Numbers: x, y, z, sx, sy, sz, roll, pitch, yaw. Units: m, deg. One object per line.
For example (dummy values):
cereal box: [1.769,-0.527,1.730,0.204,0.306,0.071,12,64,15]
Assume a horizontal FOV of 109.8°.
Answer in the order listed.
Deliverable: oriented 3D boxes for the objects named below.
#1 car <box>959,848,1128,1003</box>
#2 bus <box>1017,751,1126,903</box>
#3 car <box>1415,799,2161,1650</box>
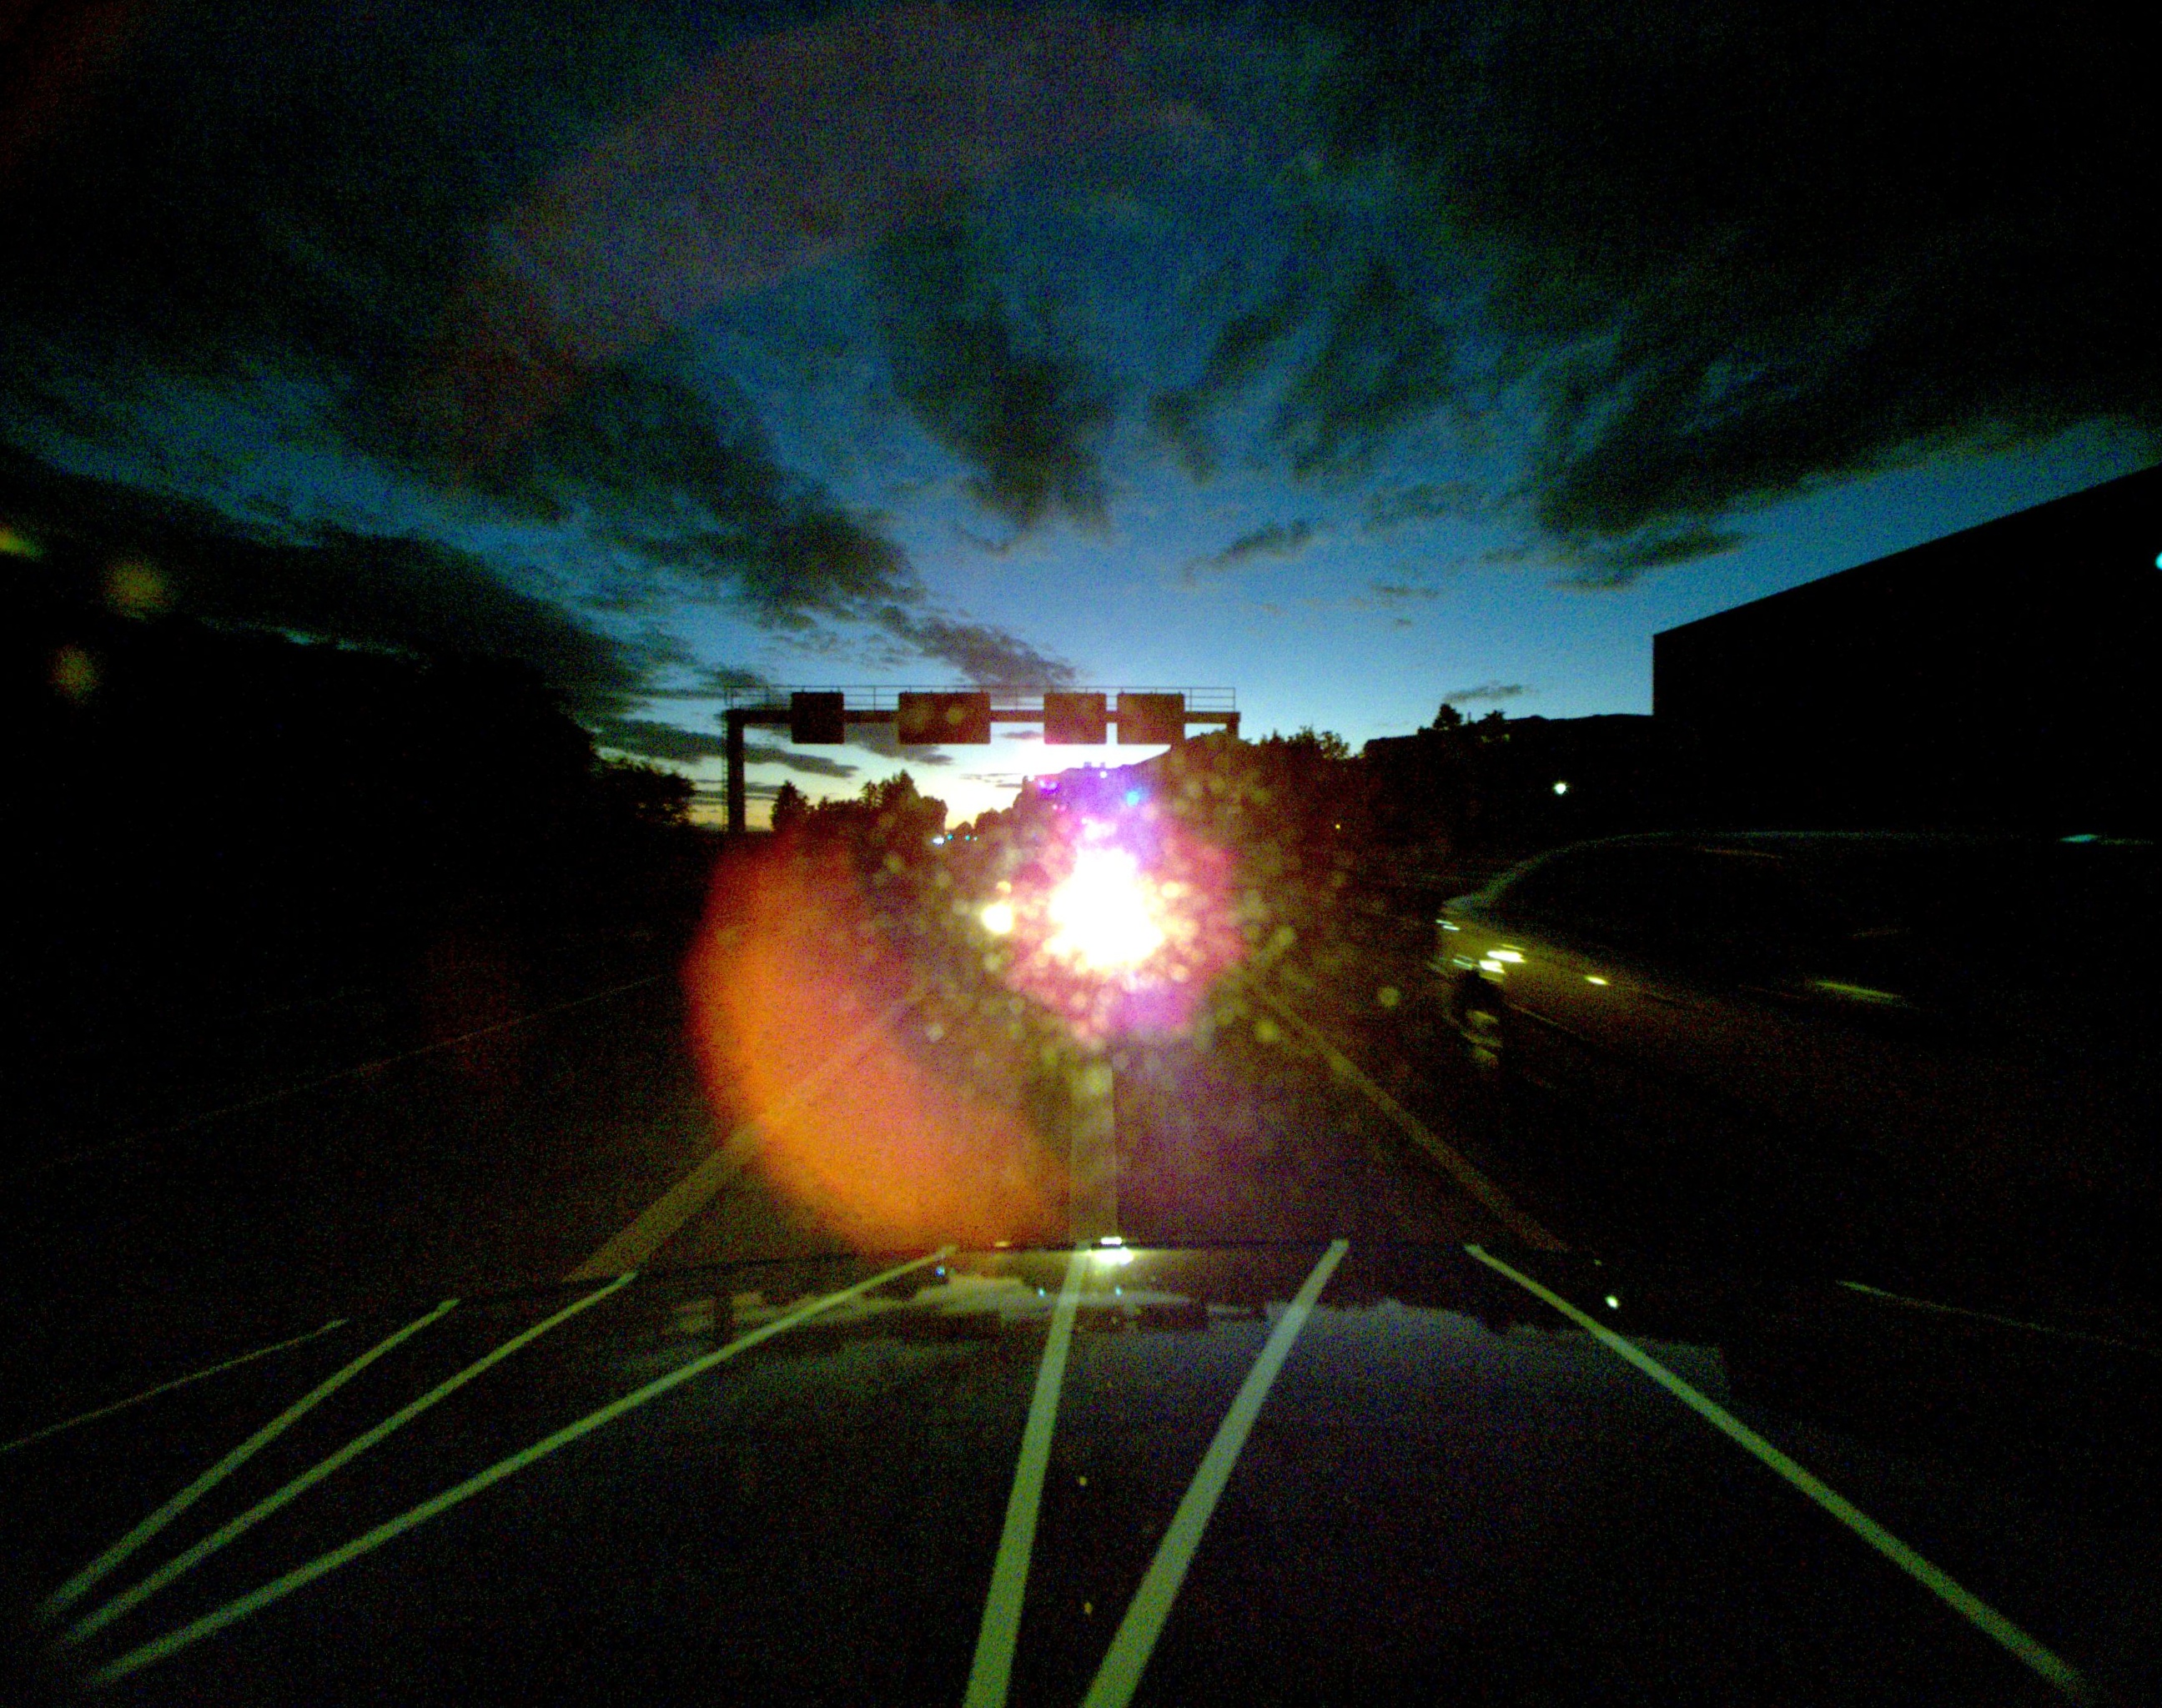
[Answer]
car: [-0.272,0.726,9.616,1.669,1.472,3.776,-2,1,3]
bus: [-0.388,-0.837,25.556,2.614,3.769,12.270,-3,2,-1]
car: [2.935,0.670,2.614,1.670,1.644,4.410,-3,1,1]
